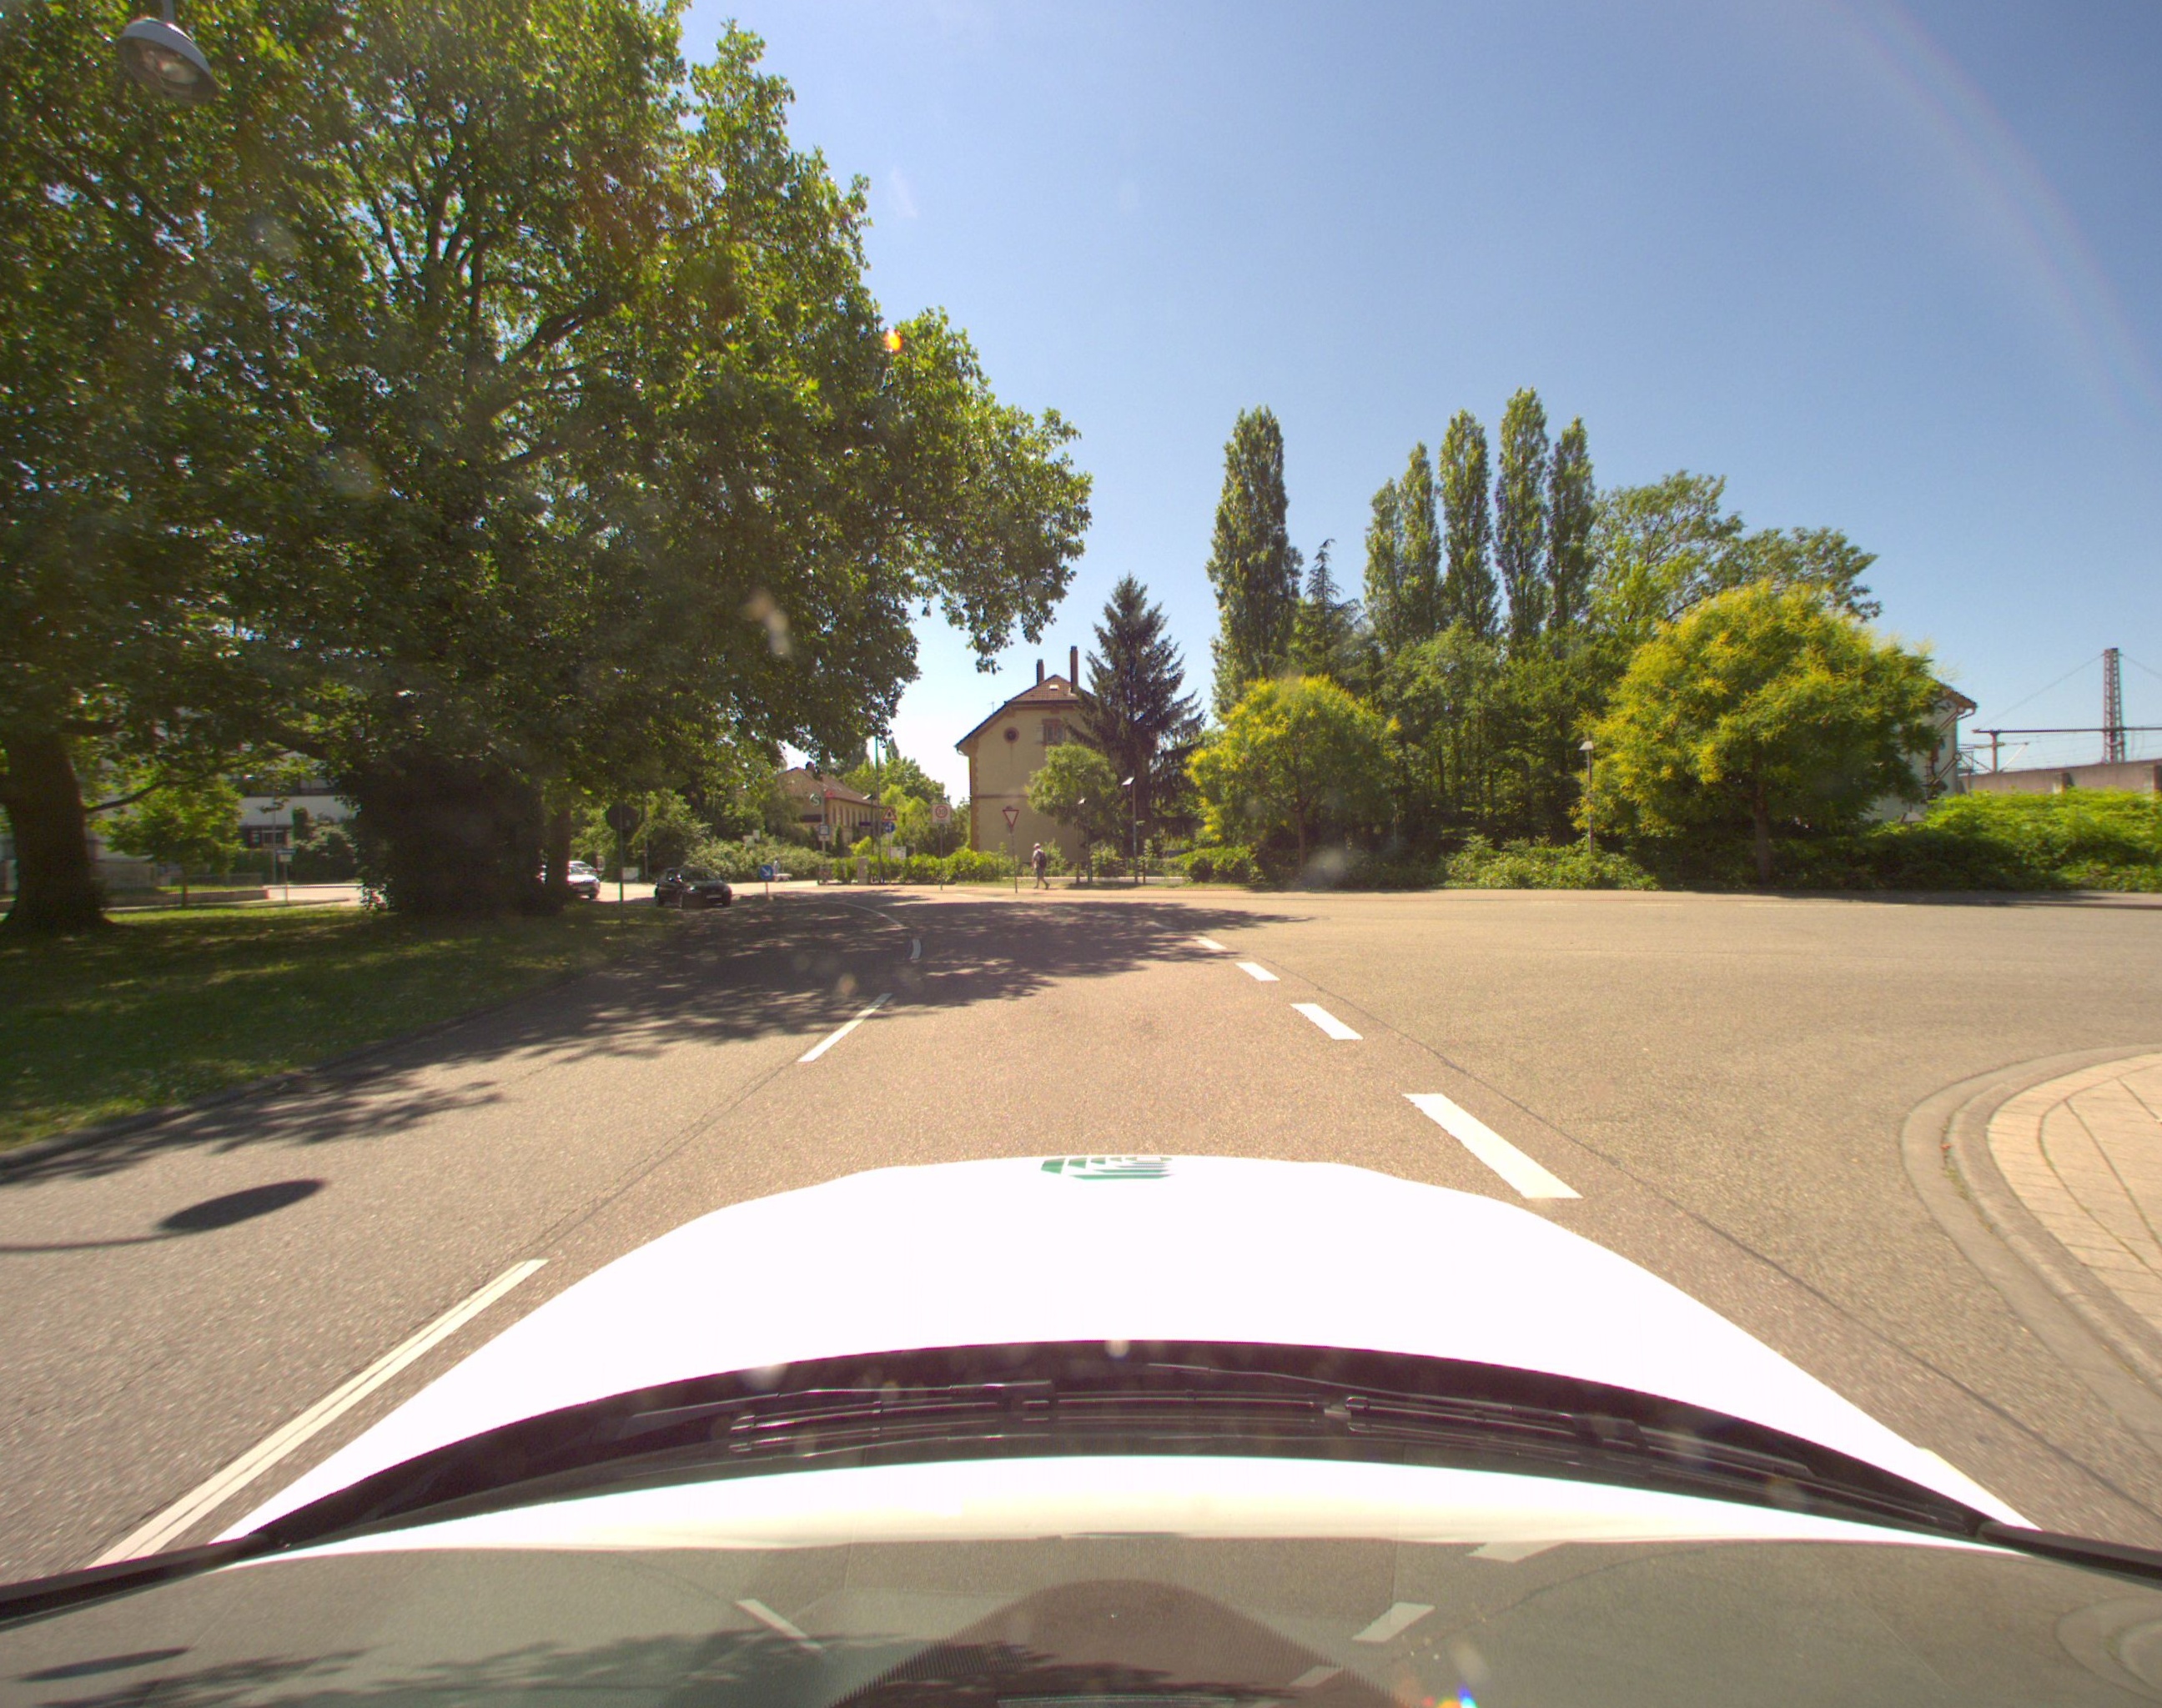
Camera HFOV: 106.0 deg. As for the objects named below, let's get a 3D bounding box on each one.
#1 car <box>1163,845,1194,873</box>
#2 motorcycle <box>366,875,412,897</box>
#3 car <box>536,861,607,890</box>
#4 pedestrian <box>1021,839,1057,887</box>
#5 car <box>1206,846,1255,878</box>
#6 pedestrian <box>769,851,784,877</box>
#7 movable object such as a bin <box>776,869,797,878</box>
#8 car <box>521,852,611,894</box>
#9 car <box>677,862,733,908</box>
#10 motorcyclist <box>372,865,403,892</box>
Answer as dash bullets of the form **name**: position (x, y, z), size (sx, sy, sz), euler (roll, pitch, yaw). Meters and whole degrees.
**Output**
- **car**: position (5.521, 0.260, 46.292), size (1.642, 1.536, 3.976), euler (-1, 0, 6)
- **motorcycle**: position (-40.757, 1.891, 47.984), size (2.034, 1.231, 0.811), euler (-2, 0, 5)
- **car**: position (-31.272, 1.361, 49.972), size (4.413, 1.615, 1.954), euler (-3, -6, 34)
- **pedestrian**: position (-1.636, 0.334, 31.828), size (0.920, 1.771, 0.905), euler (-5, 3, -38)
- **car**: position (7.597, 0.381, 41.752), size (1.758, 1.499, 4.502), euler (-1, 0, 2)
- **pedestrian**: position (-20.044, 0.653, 53.671), size (0.691, 1.627, 0.621), euler (0, 1, 34)
- **movable object such as a bin**: position (-19.303, 1.278, 53.348), size (0.510, 0.594, 1.251), euler (-1, 1, 31)
- **car**: position (-24.277, 0.905, 38.361), size (4.267, 1.747, 2.063), euler (-2, 2, 36)
- **car**: position (-13.611, 1.050, 29.502), size (1.649, 1.417, 3.967), euler (-3, 1, -25)
- **motorcyclist**: position (-40.867, 1.453, 47.992), size (1.095, 1.555, 0.811), euler (-2, 0, 6)
